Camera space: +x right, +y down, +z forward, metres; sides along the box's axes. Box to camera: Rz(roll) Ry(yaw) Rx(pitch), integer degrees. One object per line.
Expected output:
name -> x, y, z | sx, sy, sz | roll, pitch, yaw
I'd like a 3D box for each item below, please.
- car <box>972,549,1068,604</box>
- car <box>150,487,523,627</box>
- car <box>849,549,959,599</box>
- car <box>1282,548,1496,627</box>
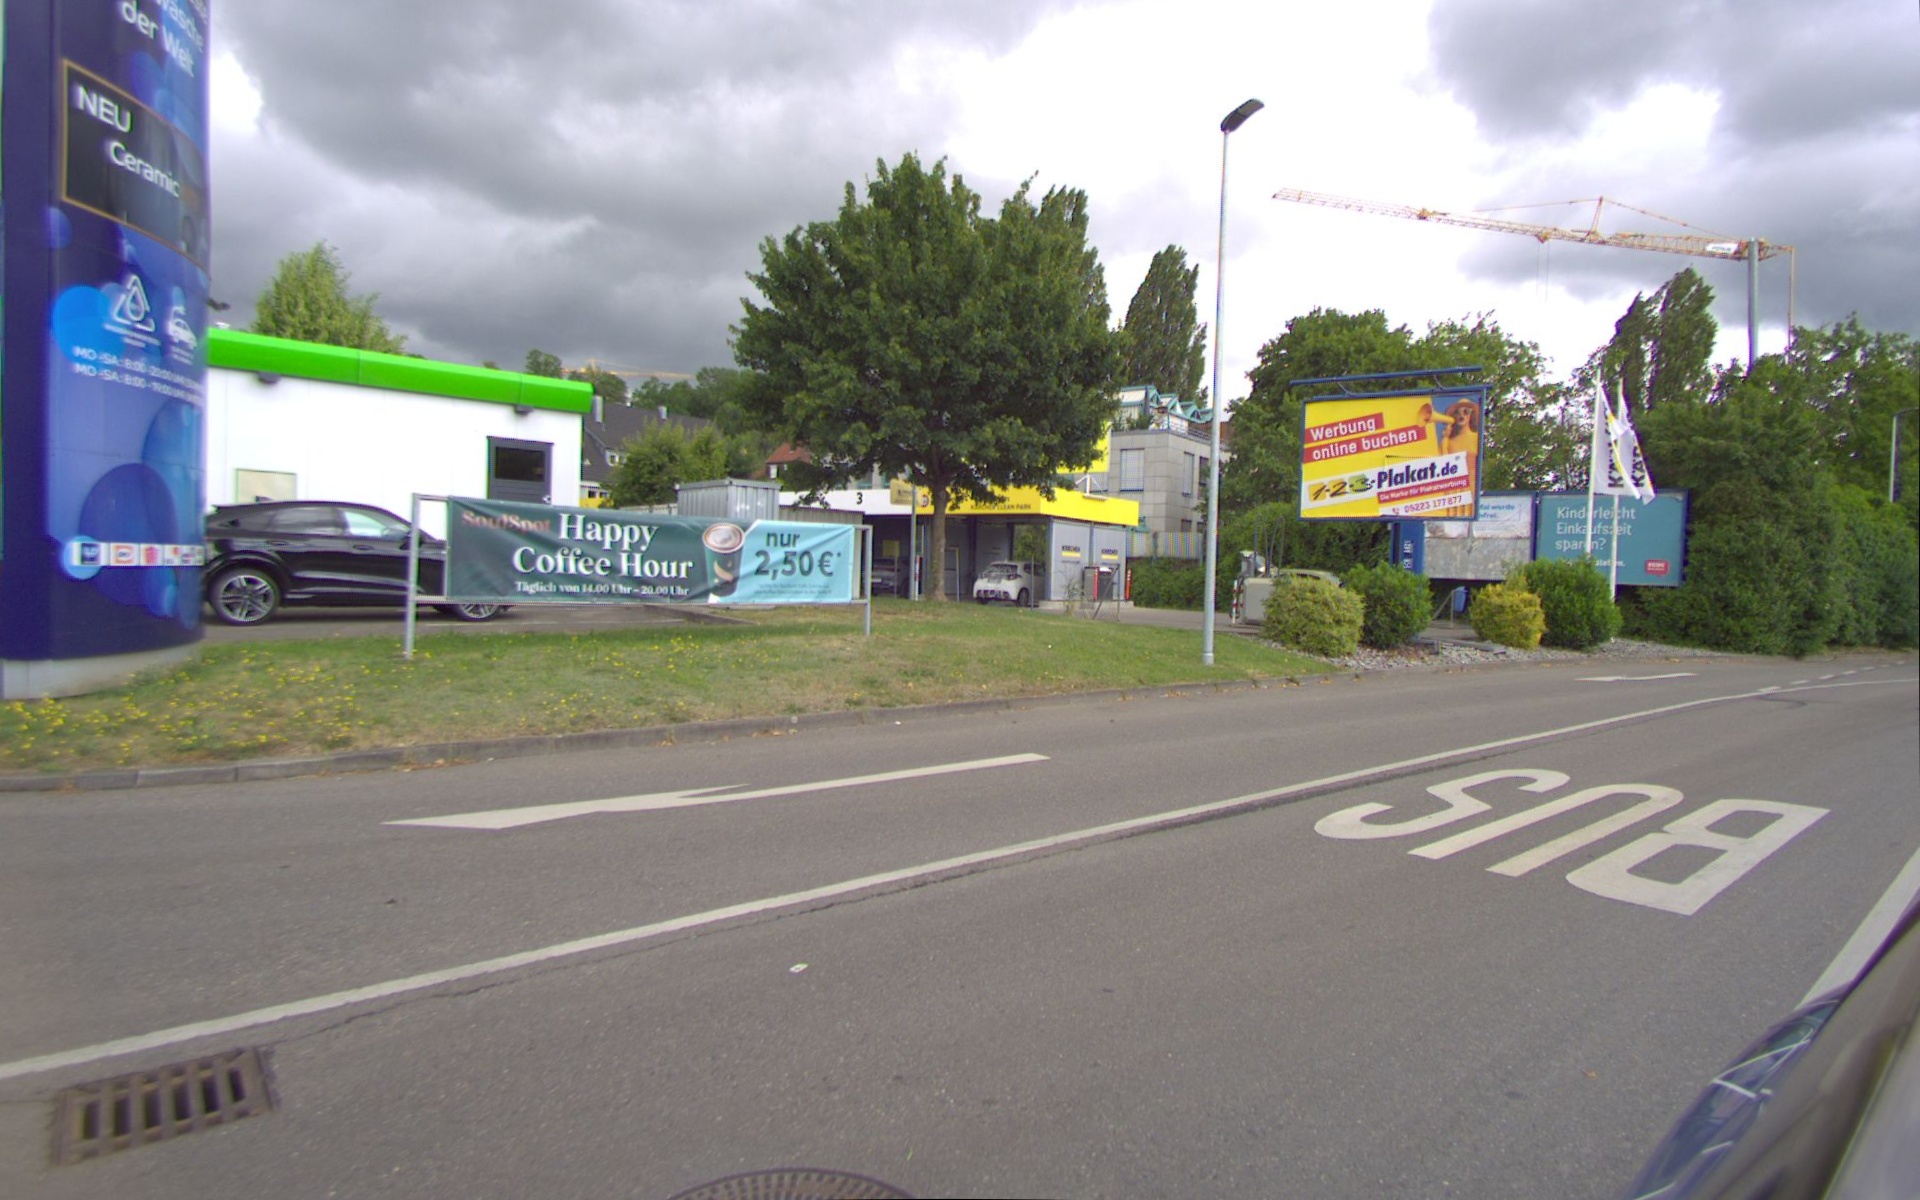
car -> 2.008, -0.756, 33.152 | 1.620, 1.660, 3.490 | 3, 2, 32
car -> -8.692, -0.605, 14.303 | 4.262, 1.694, 1.824 | -1, 4, -41
car -> -1.916, -0.899, 35.661 | 1.828, 1.593, 3.880 | 3, 2, 36
car -> 10.388, -0.344, 24.583 | 4.017, 1.676, 2.900 | 4, 2, 43
